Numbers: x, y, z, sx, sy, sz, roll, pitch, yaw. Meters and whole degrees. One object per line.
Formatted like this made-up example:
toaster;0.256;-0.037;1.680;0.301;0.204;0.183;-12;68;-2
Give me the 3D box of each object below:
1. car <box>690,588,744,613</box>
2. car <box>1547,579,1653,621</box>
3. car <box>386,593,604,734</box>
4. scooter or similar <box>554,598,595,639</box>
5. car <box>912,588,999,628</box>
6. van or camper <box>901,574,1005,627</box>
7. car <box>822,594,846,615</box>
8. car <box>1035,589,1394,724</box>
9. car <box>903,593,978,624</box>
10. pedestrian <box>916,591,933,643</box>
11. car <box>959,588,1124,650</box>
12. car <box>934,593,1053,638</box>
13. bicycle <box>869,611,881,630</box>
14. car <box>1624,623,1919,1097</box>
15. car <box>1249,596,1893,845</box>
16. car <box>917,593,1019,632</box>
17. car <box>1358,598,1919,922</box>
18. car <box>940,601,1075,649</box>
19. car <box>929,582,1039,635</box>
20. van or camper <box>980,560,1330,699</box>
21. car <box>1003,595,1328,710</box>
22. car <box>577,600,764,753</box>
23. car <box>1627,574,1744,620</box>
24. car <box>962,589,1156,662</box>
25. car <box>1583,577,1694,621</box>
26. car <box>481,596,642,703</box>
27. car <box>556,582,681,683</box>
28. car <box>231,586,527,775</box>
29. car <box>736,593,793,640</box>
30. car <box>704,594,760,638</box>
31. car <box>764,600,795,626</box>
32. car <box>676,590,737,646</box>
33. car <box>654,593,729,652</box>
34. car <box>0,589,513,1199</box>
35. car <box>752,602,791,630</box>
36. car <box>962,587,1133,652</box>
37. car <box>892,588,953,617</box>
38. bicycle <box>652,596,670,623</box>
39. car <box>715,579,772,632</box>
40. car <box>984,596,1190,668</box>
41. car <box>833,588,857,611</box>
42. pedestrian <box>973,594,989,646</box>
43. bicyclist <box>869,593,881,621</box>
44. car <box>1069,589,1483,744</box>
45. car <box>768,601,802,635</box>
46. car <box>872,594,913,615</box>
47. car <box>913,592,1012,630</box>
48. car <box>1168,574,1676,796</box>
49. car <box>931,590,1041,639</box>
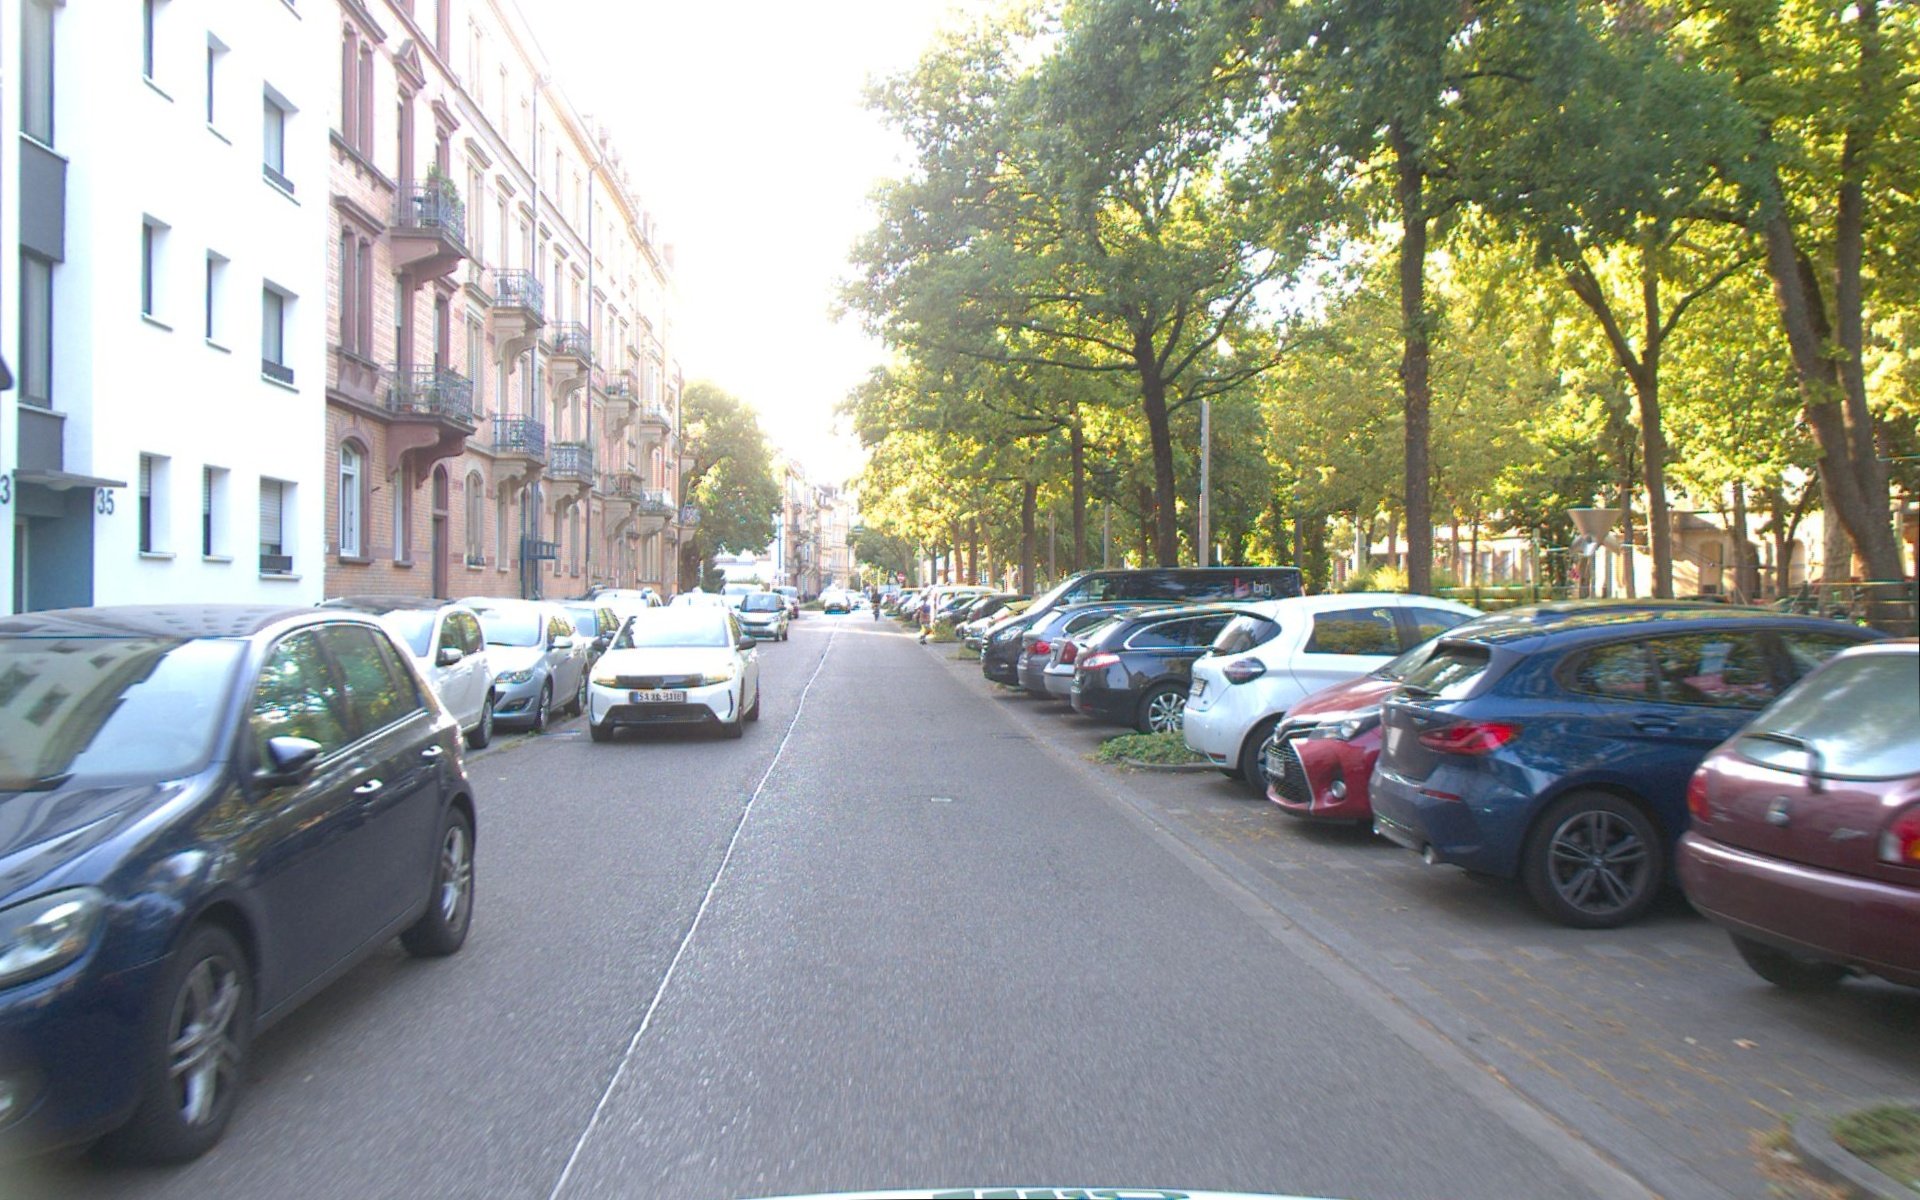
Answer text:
car;-18.586;0.027;126.623;3.907;1.736;1.999;1;-2;-3
car;28.282;0.028;73.189;3.908;1.713;1.998;1;-2;-4
car;-5.688;0.718;20.753;1.635;1.497;4.281;3;0;-3
scooter or similar;-12.062;0.594;51.817;0.768;1.244;2.702;1;-2;-4
car;-0.241;0.361;76.224;3.907;1.721;1.858;-2;0;-3
van or camper;-0.378;0.047;80.784;4.885;2.419;2.182;1;-2;-6
car;-9.048;0.299;118.575;1.635;1.489;3.996;-1;0;-5
car;3.170;0.710;21.169;4.310;1.605;1.663;-1;-1;-2
car;-1.074;0.455;90.745;3.911;1.575;1.856;1;-2;-7
pedestrian;-1.107;0.519;51.722;0.372;1.612;0.519;1;2;15
car;2.252;0.524;46.134;4.317;1.619;1.834;-1;-1;-9
car;1.159;0.537;58.330;4.003;1.468;1.759;-2;0;-6
bicycle;-5.042;1.210;97.819;0.628;1.119;1.942;1;-2;-5
car;4.623;0.784;6.009;3.710;1.426;1.763;-1;-1;-8
car;3.958;0.763;11.139;3.705;1.499;1.663;-1;-1;-2
car;0.329;0.507;68.278;4.133;1.478;1.649;-2;0;0
car;4.089;0.752;8.472;3.703;1.472;1.664;-1;-1;2
car;1.348;0.711;47.986;3.767;1.301;1.689;-1;0;-5
car;0.907;0.314;63.861;4.136;1.896;1.761;-2;0;-3
van or camper;3.003;0.437;26.329;5.304;2.063;2.029;-1;1;-2
car;2.890;0.735;23.774;4.315;1.527;1.835;-1;-1;-7
car;-3.288;0.807;19.436;1.635;1.455;3.998;-2;1;-3
car;29.557;-0.104;67.448;3.908;1.713;1.998;1;-2;-4
car;2.280;0.581;38.747;4.313;1.619;1.836;-1;-1;-5
car;28.918;-0.033;70.525;3.908;1.713;1.998;1;-2;-4
car;-6.122;0.712;25.837;1.583;1.477;3.999;2;0;-1
car;-6.346;0.572;31.117;1.717;1.736;4.197;1;0;-4
car;-5.505;0.692;16.199;1.635;1.534;3.997;3;0;-4
car;-6.408;0.526;54.415;1.473;1.460;2.753;-1;0;1
car;-8.240;0.556;59.980;1.641;1.480;4.207;-1;0;-3
car;-10.990;0.756;100.861;1.722;1.491;4.264;1;0;-4
car;-7.774;0.533;50.486;1.715;1.573;4.142;2;0;-10
car;-7.386;0.585;45.853;1.720;1.489;3.995;3;0;-5
car;-2.832;0.739;5.533;1.704;1.505;3.998;-1;0;-2
car;-10.502;0.859;92.222;1.720;1.491;4.267;1;0;-1
car;2.259;0.496;43.529;4.311;1.619;1.836;-1;-1;-3
car;-2.549;0.165;110.968;3.911;1.825;1.856;1;-2;-7
bicycle;-13.526;0.454;74.838;0.691;1.167;1.887;1;-2;-7
car;-8.540;0.269;65.590;1.954;1.955;5.034;1;-2;-5
car;2.710;0.684;36.014;4.310;1.465;1.837;-1;-1;-2
car;-9.943;-0.031;142.791;1.954;1.870;3.995;1;-2;-5
pedestrian;0.642;0.610;50.542;0.372;1.543;0.519;1;2;15
bicyclist;-5.024;0.423;97.806;0.615;1.601;0.801;1;-2;-5
car;3.416;0.728;18.476;4.308;1.605;1.664;-1;-1;1
car;-11.235;1.148;106.386;1.919;2.053;4.264;1;0;-4
car;-6.970;0.491;171.781;3.902;2.049;2.001;1;-2;8
car;0.093;0.463;71.162;4.136;1.478;1.864;-2;0;-3
car;3.716;0.674;13.710;3.707;1.675;1.663;-1;-1;-3
car;0.857;0.489;55.821;3.601;1.528;1.761;-2;0;-3
